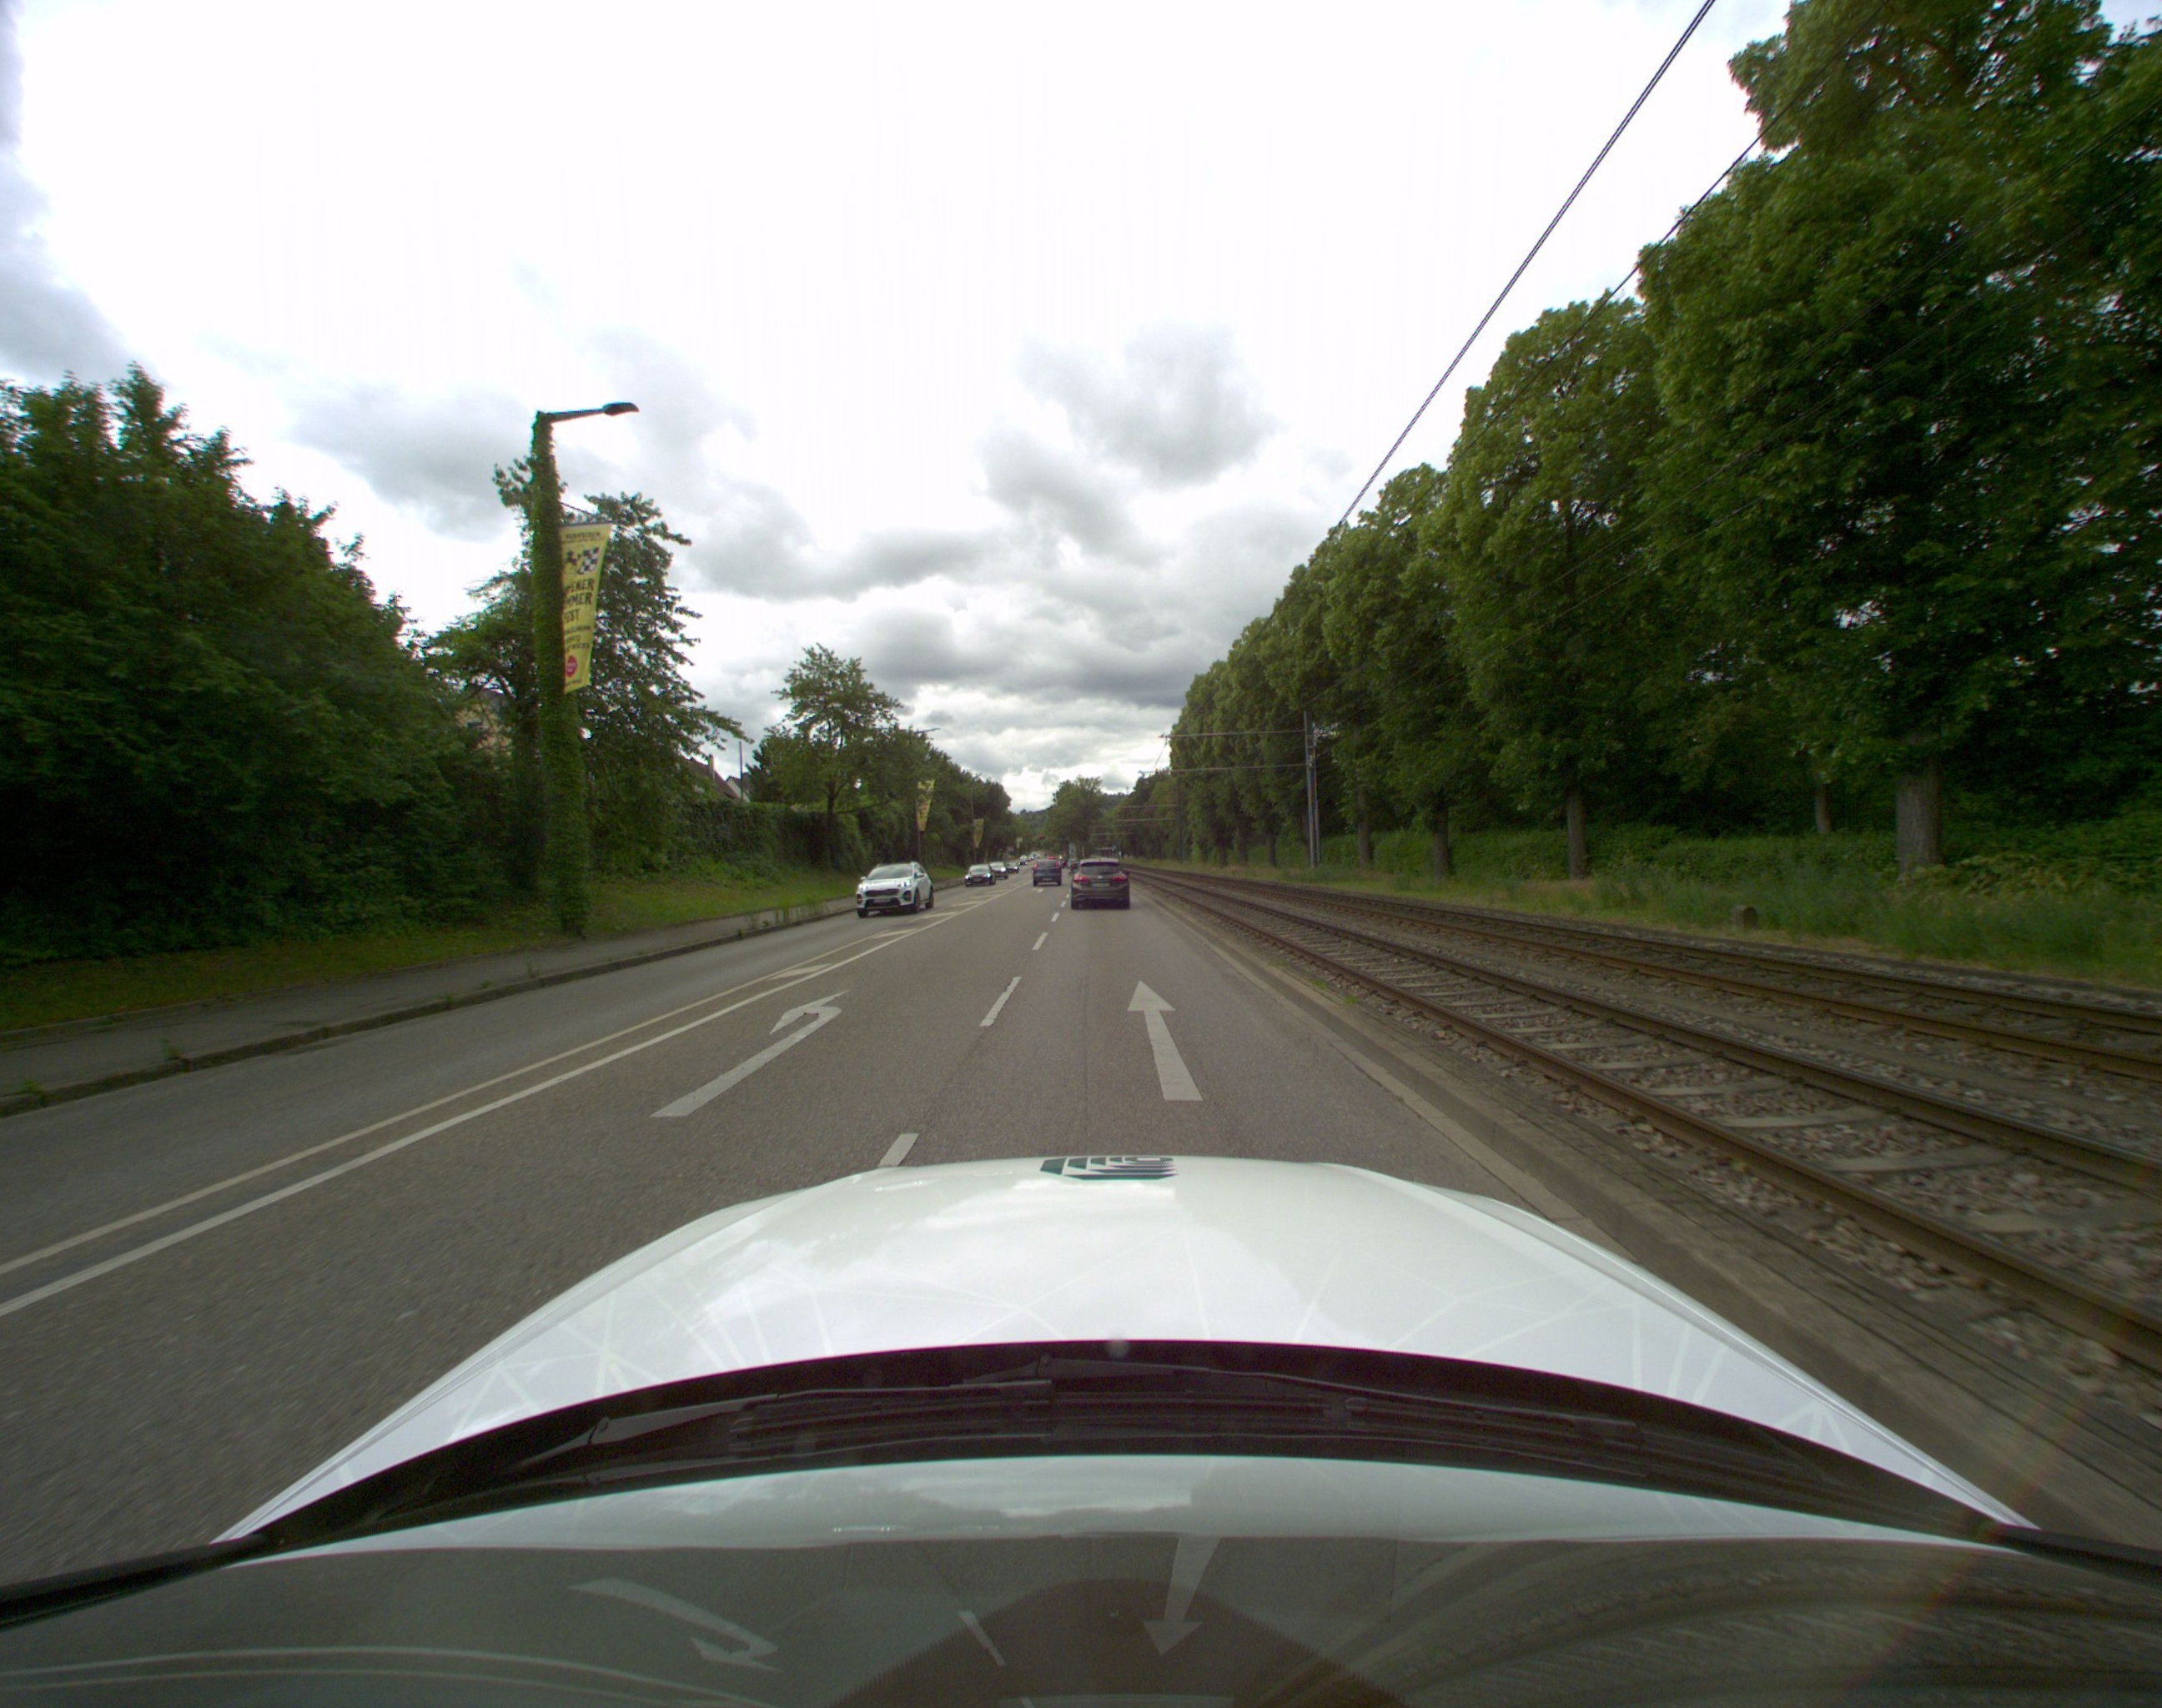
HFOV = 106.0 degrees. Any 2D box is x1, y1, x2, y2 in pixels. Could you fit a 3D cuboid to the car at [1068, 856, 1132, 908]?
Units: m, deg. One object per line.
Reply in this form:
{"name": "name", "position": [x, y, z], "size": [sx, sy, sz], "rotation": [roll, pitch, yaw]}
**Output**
{"name": "car", "position": [0.603, 0.829, 25.621], "size": [1.844, 1.493, 4.001], "rotation": [-1, 0, 1]}

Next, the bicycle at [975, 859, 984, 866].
{"name": "bicycle", "position": [-16.844, 1.441, 135.107], "size": [0.494, 1.107, 1.811], "rotation": [-2, -1, 31]}

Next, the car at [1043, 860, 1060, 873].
{"name": "car", "position": [-3.227, 1.387, 90.786], "size": [1.709, 1.435, 3.999], "rotation": [-1, -1, 0]}

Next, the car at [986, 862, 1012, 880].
{"name": "car", "position": [-7.212, 1.473, 71.793], "size": [1.821, 1.457, 4.140], "rotation": [-4, 0, -1]}

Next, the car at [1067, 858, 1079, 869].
{"name": "car", "position": [-1.242, 1.458, 124.961], "size": [1.709, 1.550, 3.999], "rotation": [-1, -1, 0]}

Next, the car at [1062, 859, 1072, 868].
{"name": "car", "position": [-2.508, 1.654, 146.334], "size": [1.709, 1.550, 3.999], "rotation": [-1, -1, 0]}

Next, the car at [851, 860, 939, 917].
{"name": "car", "position": [-5.981, 1.063, 26.630], "size": [1.836, 1.620, 4.158], "rotation": [-3, -1, 0]}

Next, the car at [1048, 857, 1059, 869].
{"name": "car", "position": [-4.353, 1.425, 128.661], "size": [1.711, 1.864, 3.996], "rotation": [-1, -1, -2]}

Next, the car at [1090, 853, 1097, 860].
{"name": "car", "position": [3.285, 0.658, 210.061], "size": [1.711, 1.663, 3.704], "rotation": [-1, -1, -2]}

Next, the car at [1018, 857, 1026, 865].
{"name": "car", "position": [-13.690, 1.712, 189.902], "size": [1.711, 1.760, 3.997], "rotation": [-1, -1, -2]}

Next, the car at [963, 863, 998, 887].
{"name": "car", "position": [-6.681, 1.366, 54.306], "size": [1.761, 1.400, 4.213], "rotation": [-4, 0, -1]}

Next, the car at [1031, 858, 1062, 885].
{"name": "car", "position": [-1.975, 0.968, 47.234], "size": [1.695, 1.443, 3.997], "rotation": [-1, 0, -2]}

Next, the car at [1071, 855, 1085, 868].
{"name": "car", "position": [-0.338, 1.007, 105.068], "size": [1.709, 1.550, 3.999], "rotation": [-1, -1, 0]}

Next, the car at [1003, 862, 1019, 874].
{"name": "car", "position": [-8.857, 1.772, 103.816], "size": [1.837, 1.376, 4.442], "rotation": [-4, 0, -4]}
